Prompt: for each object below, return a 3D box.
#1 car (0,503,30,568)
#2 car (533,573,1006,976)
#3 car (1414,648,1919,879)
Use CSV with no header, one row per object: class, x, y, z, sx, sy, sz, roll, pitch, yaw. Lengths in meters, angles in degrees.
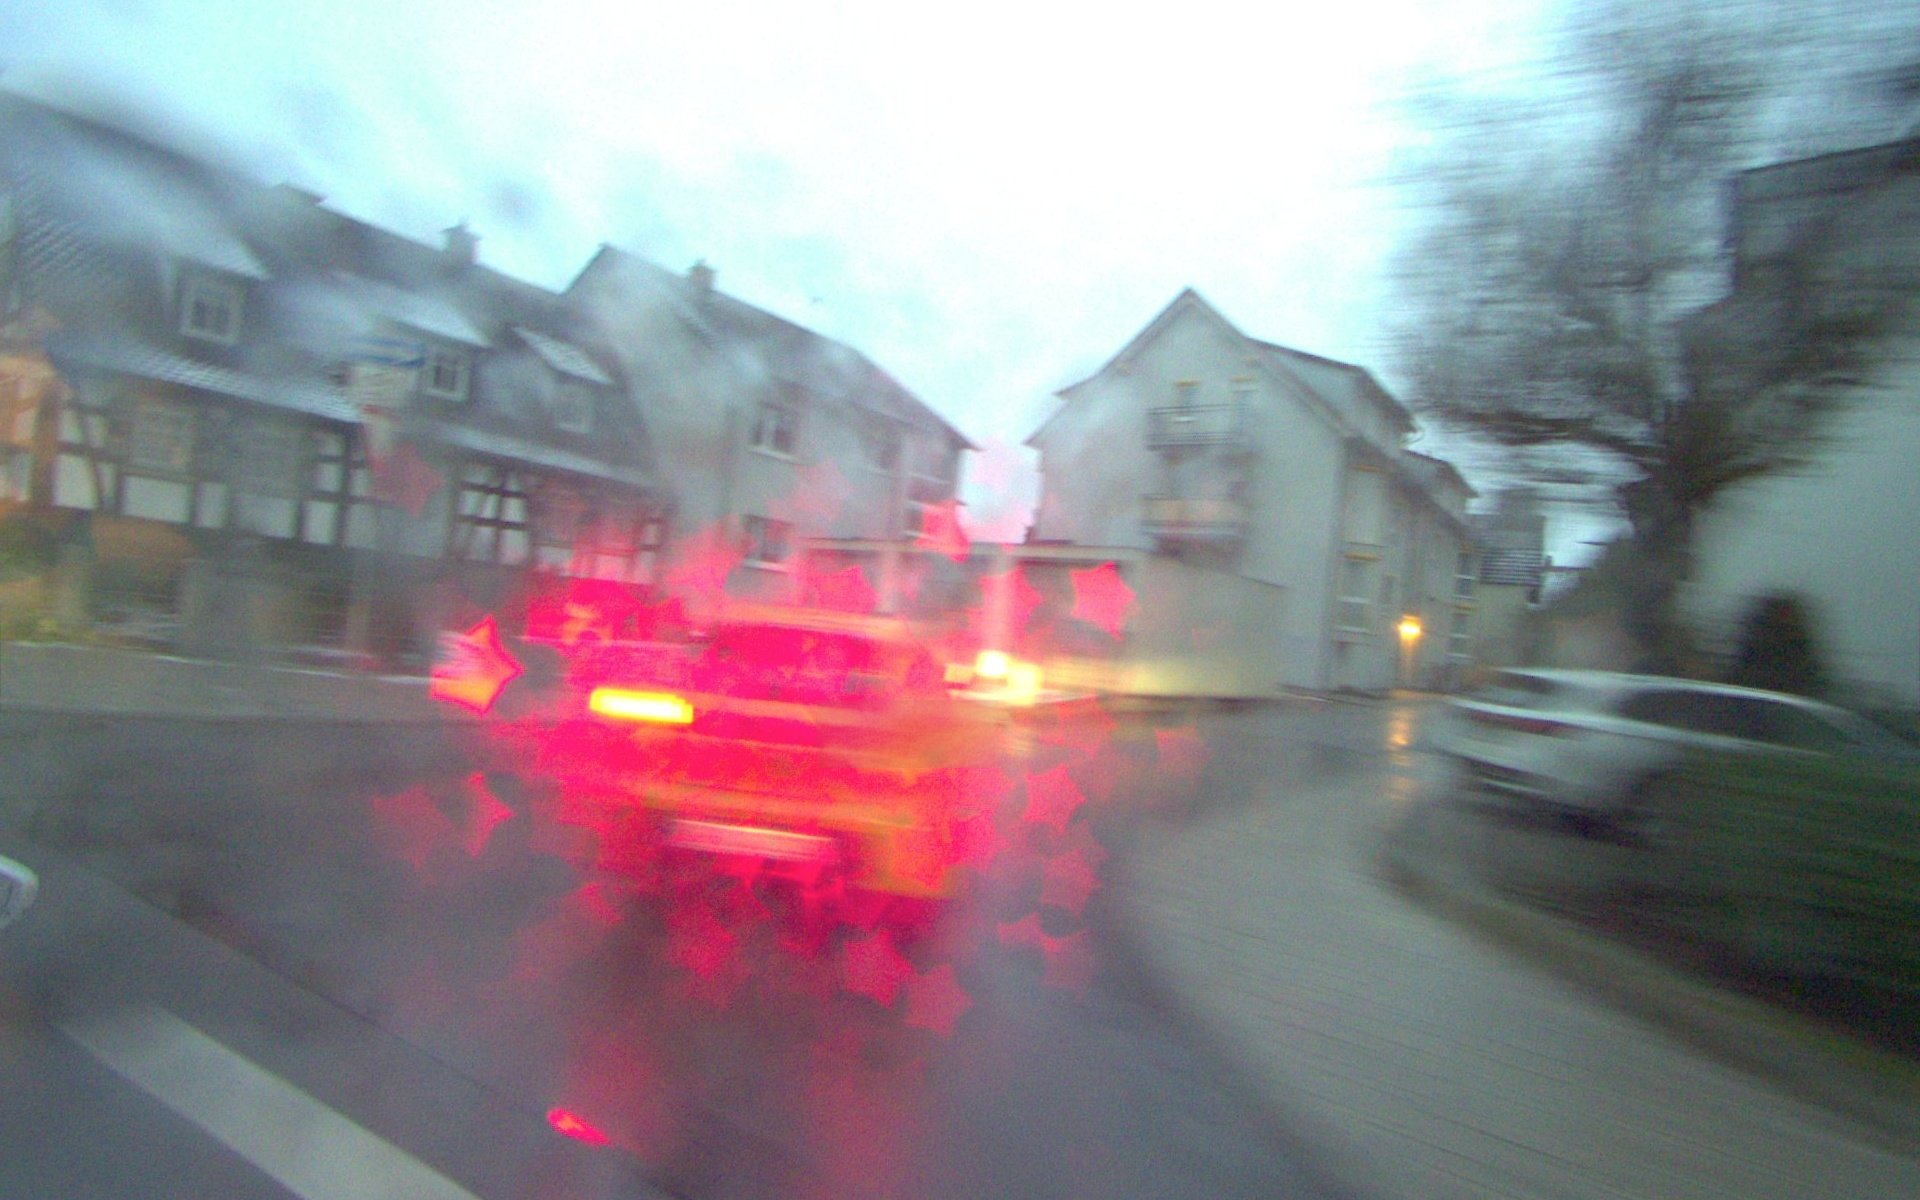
car,-23.245,-1.584,22.465,1.658,1.460,3.291,5,1,31
car,-0.720,0.741,6.017,1.742,1.465,3.728,6,0,4
car,6.831,1.472,9.493,4.145,1.486,1.795,7,1,1
